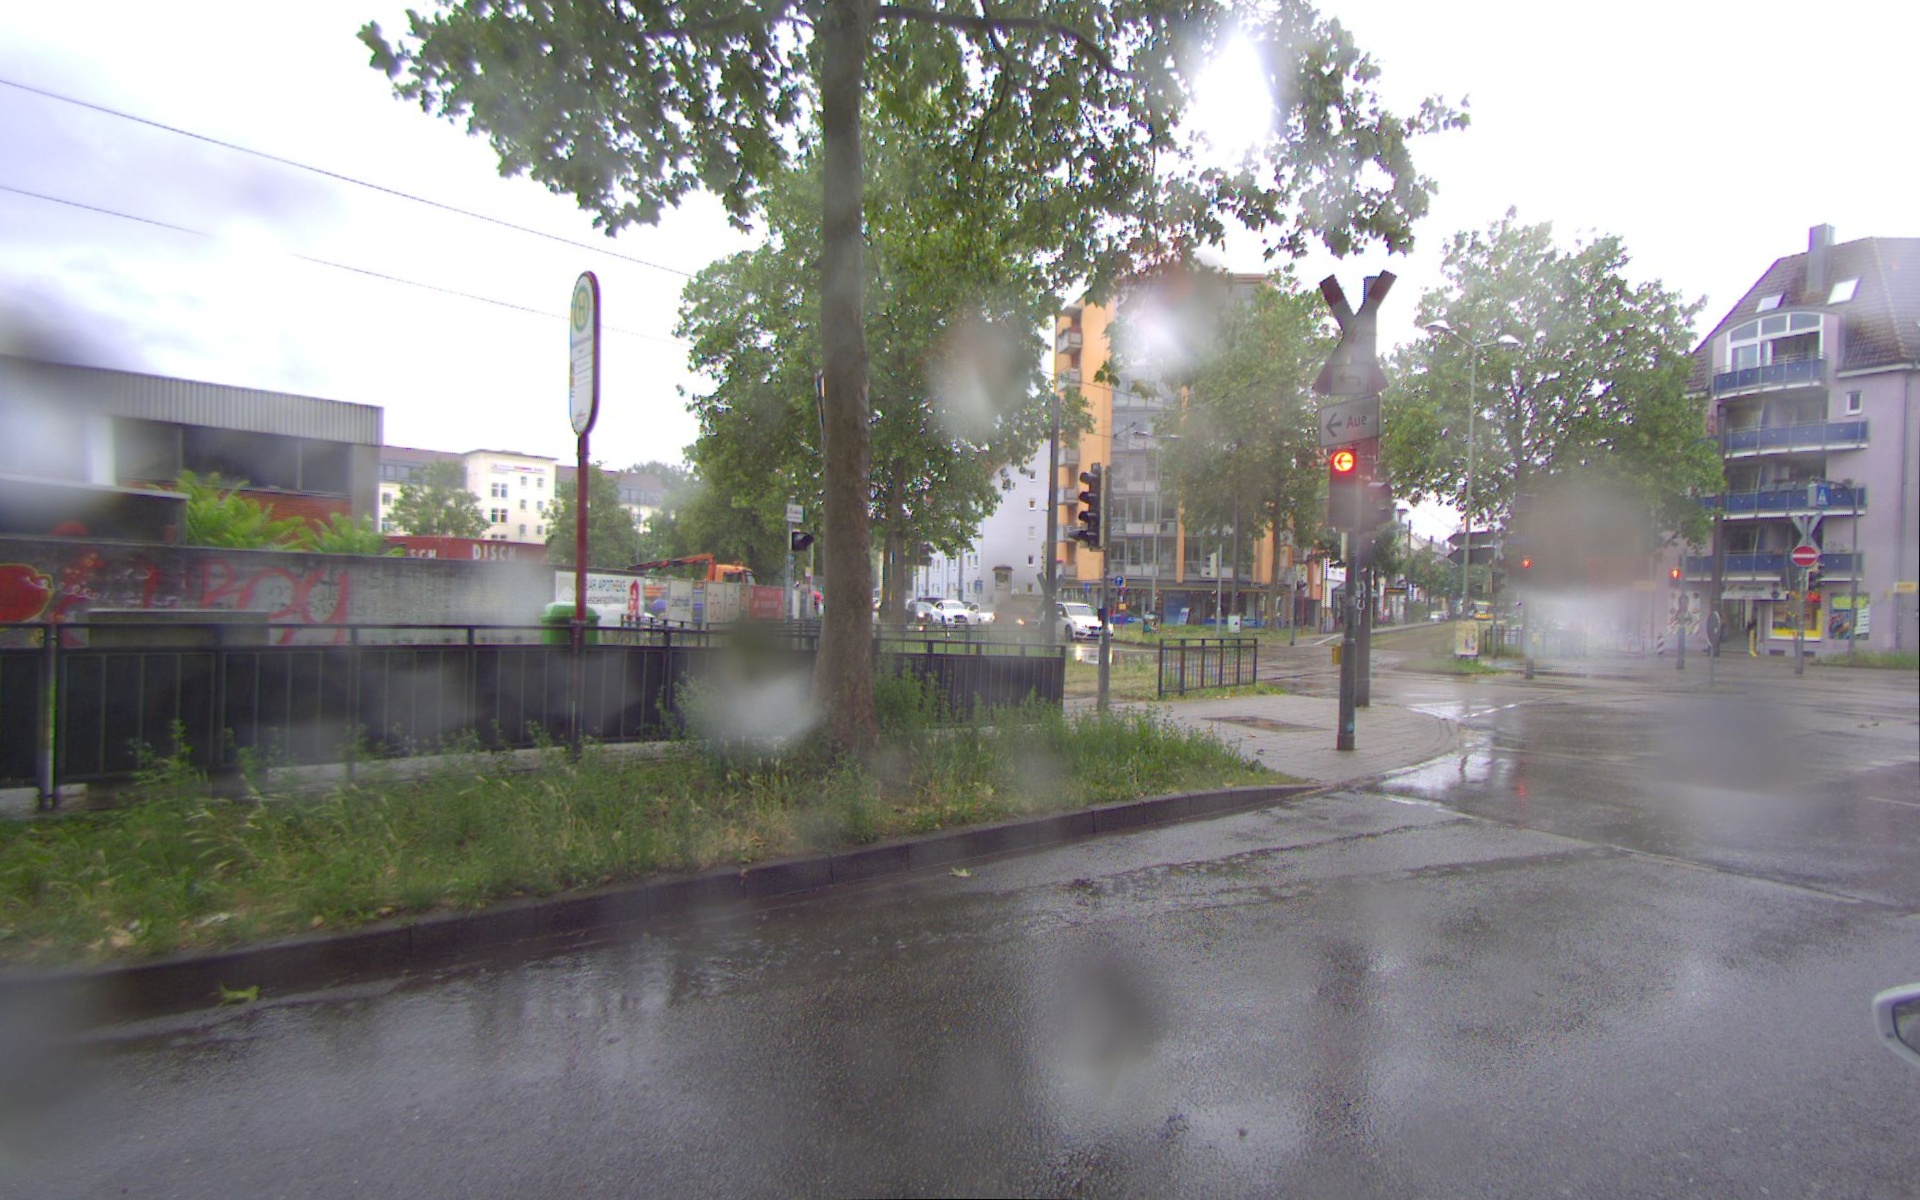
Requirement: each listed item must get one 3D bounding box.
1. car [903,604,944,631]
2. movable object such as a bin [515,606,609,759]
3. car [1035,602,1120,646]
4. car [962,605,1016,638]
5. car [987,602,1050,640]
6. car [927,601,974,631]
[{"bbox_3d":[-2.374,1.132,64.435,1.697,1.661,3.780,1,-1,-17],"label":"car"},{"bbox_3d":[-2.996,0.600,7.571,0.412,1.104,0.528,0,-1,44],"label":"movable object such as a bin"},{"bbox_3d":[4.666,0.954,40.461,1.941,1.673,4.004,1,-1,-17],"label":"car"},{"bbox_3d":[1.478,1.112,52.383,1.697,1.661,3.780,1,-1,-17],"label":"car"},{"bbox_3d":[2.688,0.968,46.624,1.697,1.661,3.780,1,-1,-17],"label":"car"},{"bbox_3d":[-0.574,0.944,58.384,1.697,1.661,3.780,1,-1,-17],"label":"car"}]
